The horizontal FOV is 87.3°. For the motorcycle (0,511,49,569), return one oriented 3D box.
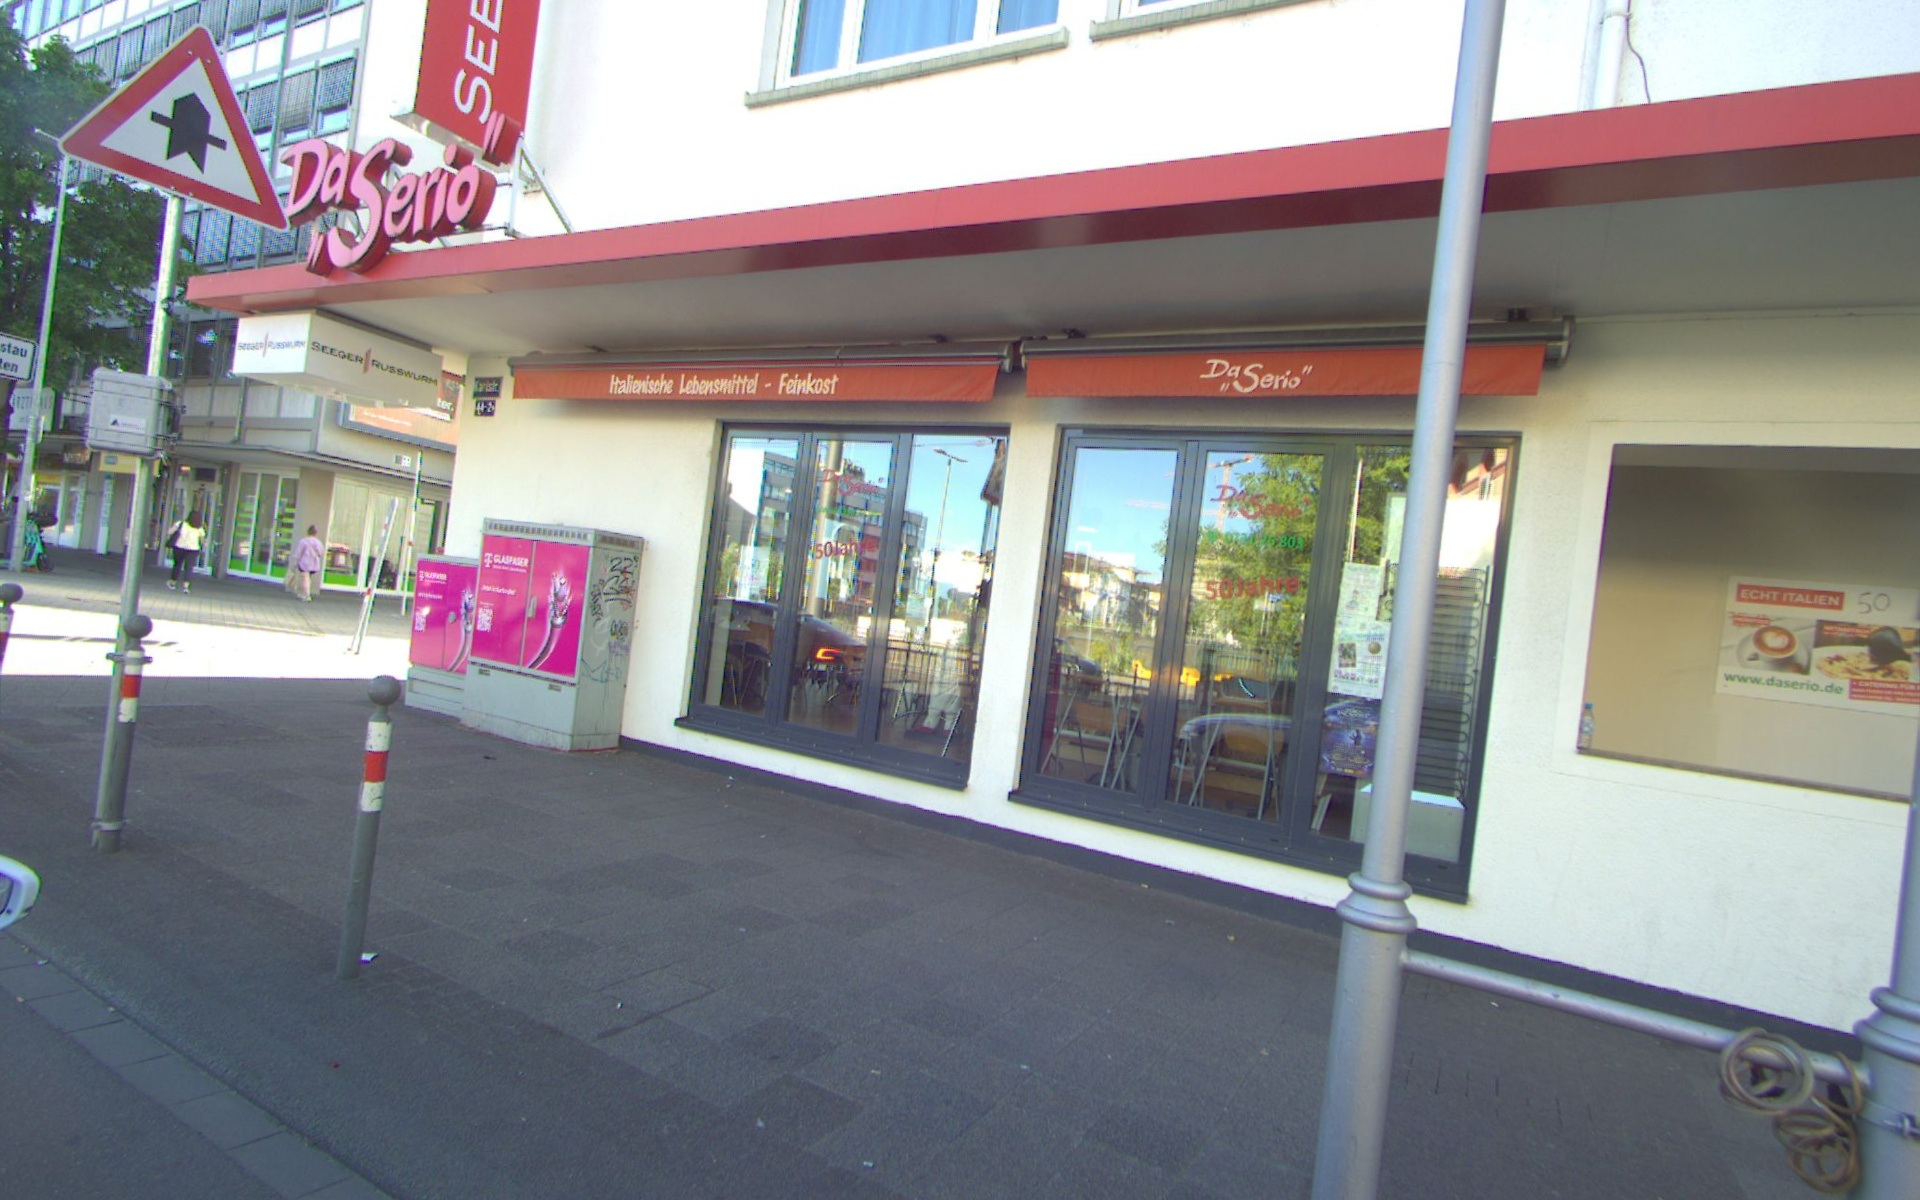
[{"bbox_3d":[-21.575,-1.415,22.404,0.532,1.186,1.711,7,-2,30],"label":"motorcycle"}]

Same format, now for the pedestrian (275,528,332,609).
[{"bbox_3d":[-14.879,-0.708,22.792,0.884,1.687,0.801,8,-1,-35],"label":"pedestrian"}]

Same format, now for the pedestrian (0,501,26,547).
[{"bbox_3d":[-29.297,-2.358,31.098,0.504,1.359,0.390,6,-1,34],"label":"pedestrian"}]

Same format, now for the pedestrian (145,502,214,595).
[{"bbox_3d":[-16.164,-1.061,20.871,0.909,1.773,1.029,7,0,-35],"label":"pedestrian"}]

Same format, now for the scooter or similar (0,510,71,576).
[{"bbox_3d":[-19.945,-1.236,21.175,1.628,1.229,0.640,8,-1,-29],"label":"scooter or similar"}]
